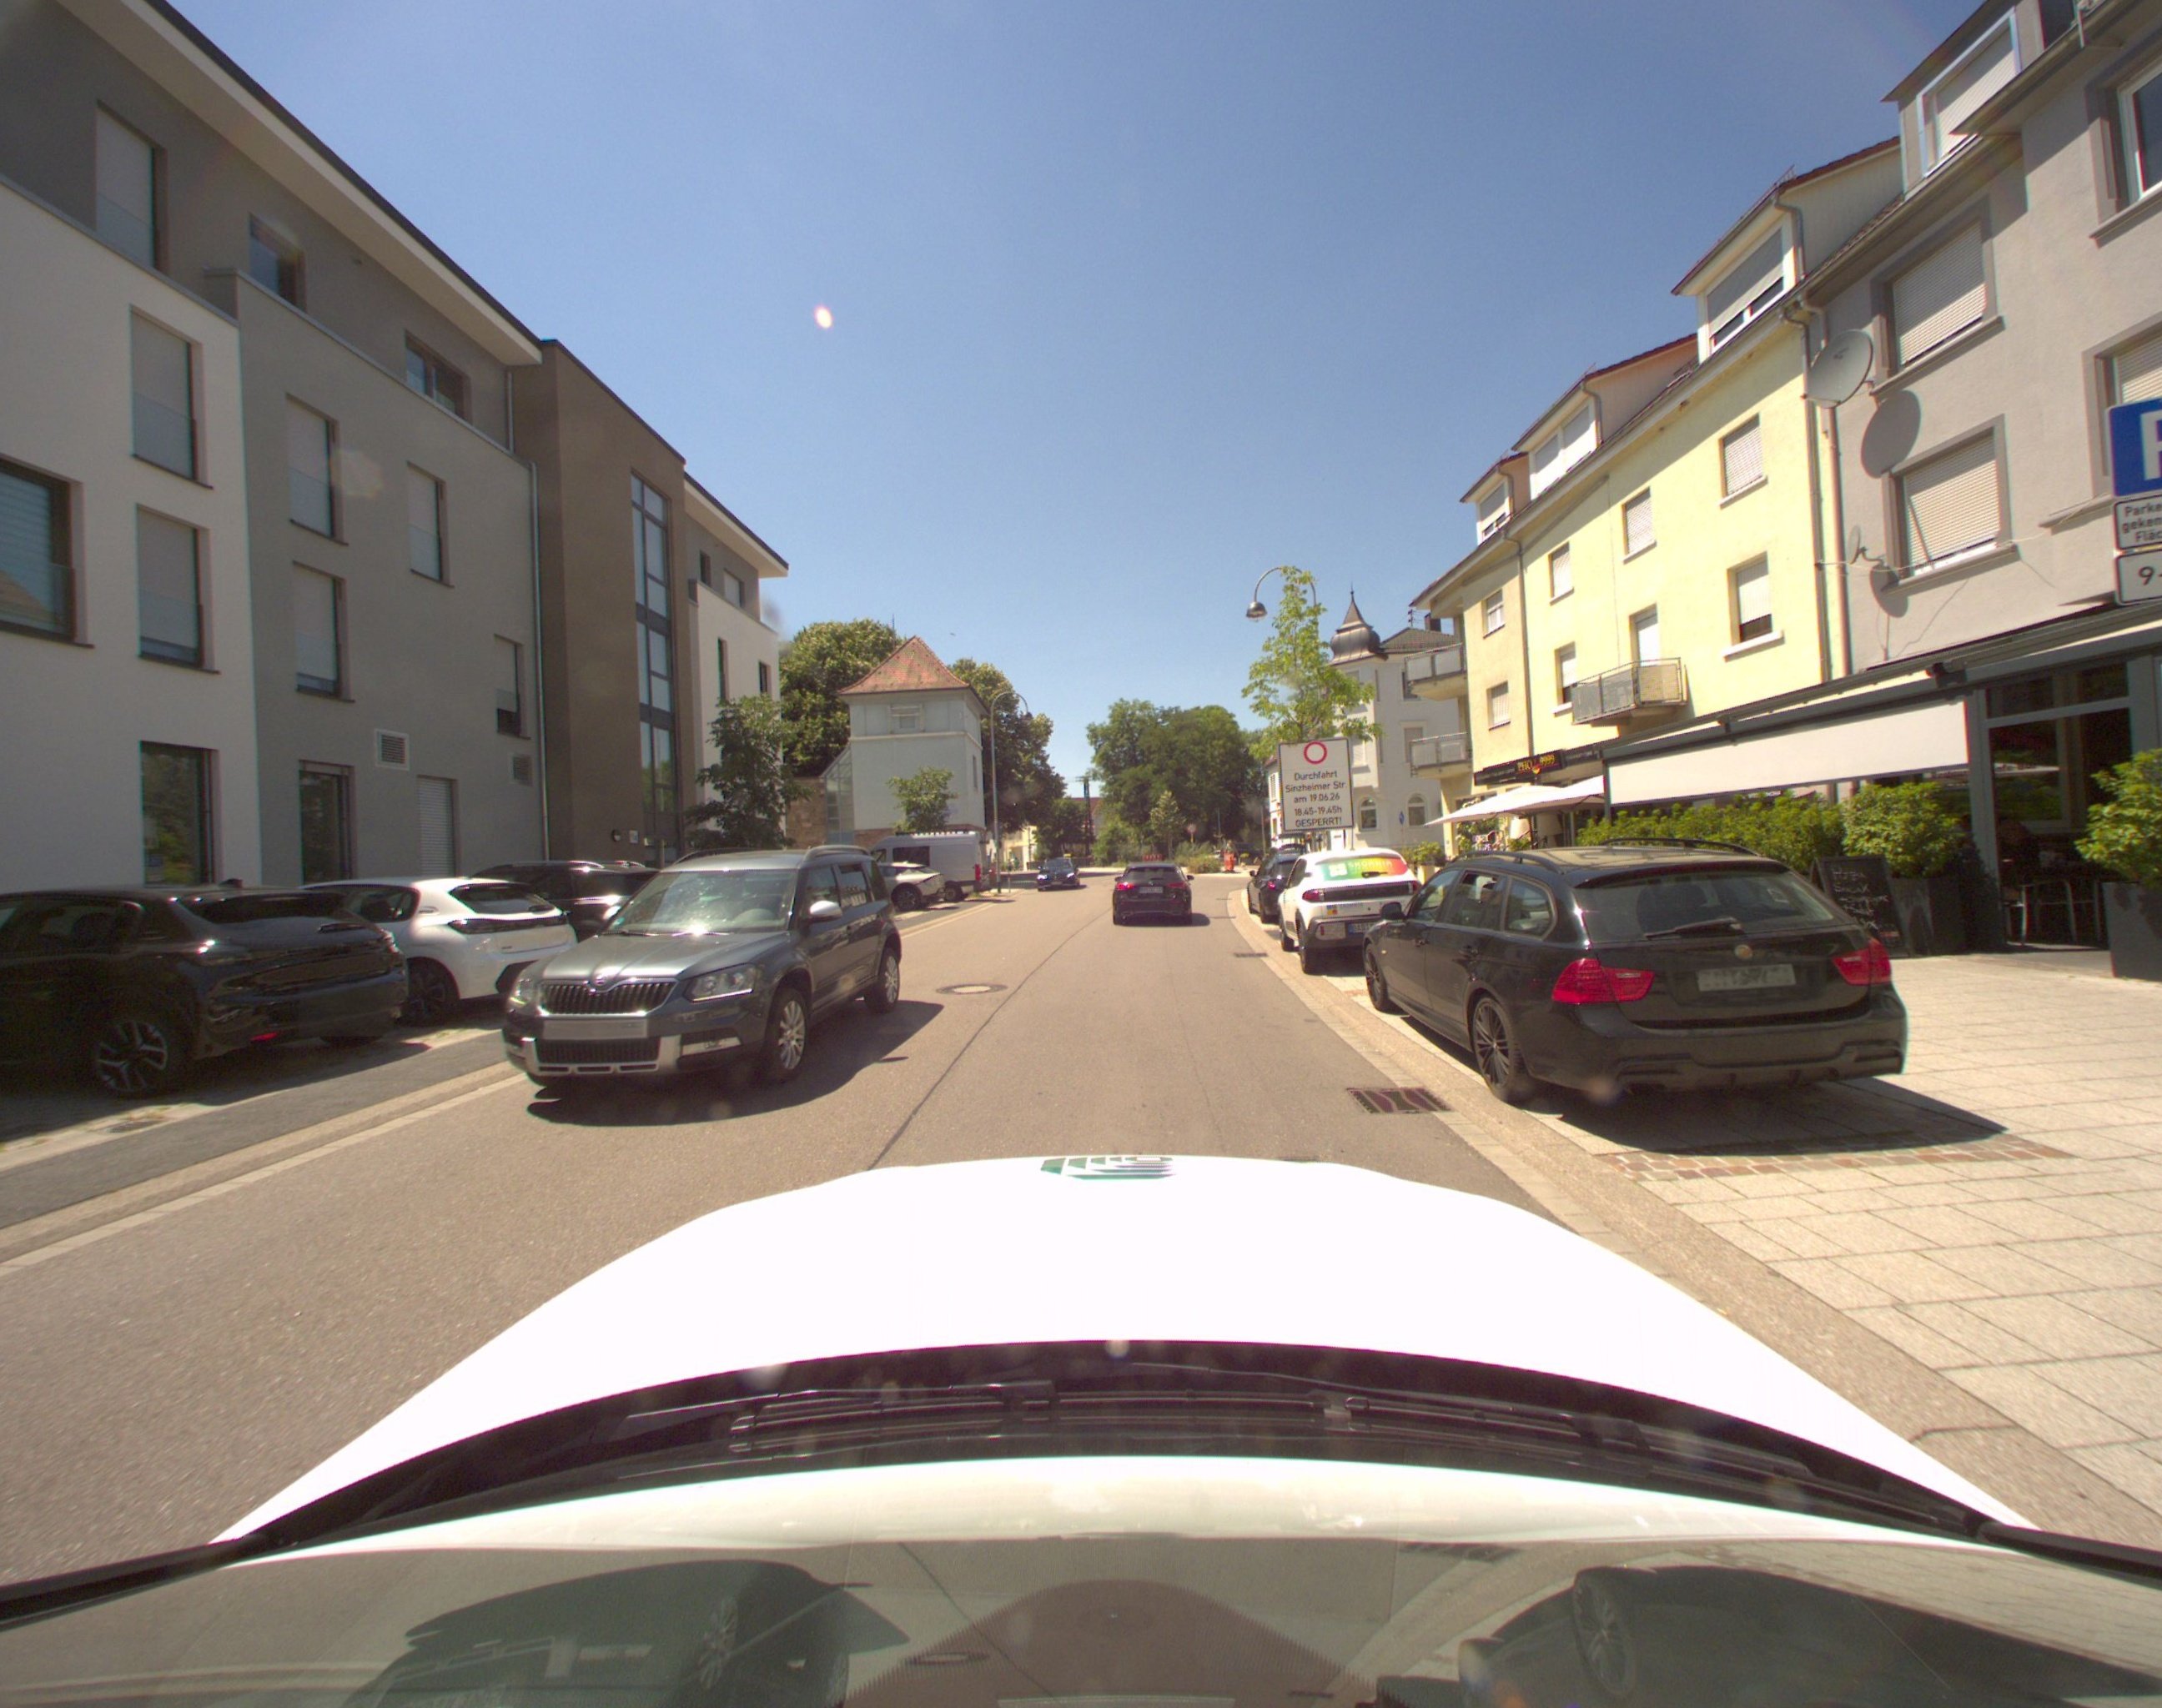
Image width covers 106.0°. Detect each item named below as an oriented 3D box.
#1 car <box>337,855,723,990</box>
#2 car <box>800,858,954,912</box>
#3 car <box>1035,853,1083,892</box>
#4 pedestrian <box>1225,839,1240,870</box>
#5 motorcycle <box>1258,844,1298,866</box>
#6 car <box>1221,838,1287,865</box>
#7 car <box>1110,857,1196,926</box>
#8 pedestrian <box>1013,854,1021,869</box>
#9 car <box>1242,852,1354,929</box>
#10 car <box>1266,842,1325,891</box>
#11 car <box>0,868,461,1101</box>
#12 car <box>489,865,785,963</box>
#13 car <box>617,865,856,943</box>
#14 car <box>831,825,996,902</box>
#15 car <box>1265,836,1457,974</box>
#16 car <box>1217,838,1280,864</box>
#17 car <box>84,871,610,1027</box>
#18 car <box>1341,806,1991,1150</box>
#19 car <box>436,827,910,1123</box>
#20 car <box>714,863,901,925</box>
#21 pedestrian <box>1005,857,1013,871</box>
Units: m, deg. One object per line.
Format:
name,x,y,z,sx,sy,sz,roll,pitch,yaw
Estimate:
car,-7.436,0.887,11.289,4.013,1.651,2.002,-1,-1,4
car,-6.529,0.980,26.427,4.436,1.591,2.001,-1,-1,2
car,-0.978,0.814,38.708,1.886,1.553,4.801,-4,1,2
pedestrian,9.059,0.003,48.718,0.741,1.796,0.846,-3,1,10
motorcycle,12.580,0.053,52.081,2.368,1.275,0.856,-2,0,1
car,11.771,-0.141,55.554,4.061,1.716,1.856,-1,-1,0
car,1.821,0.878,19.702,1.818,1.442,4.008,-2,-2,8
pedestrian,-7.930,0.917,100.640,0.666,1.741,0.693,-2,-1,-41
car,4.729,0.737,18.341,1.715,1.405,4.617,-4,-1,7
car,7.955,0.412,30.052,1.857,1.491,3.879,-4,0,16
car,-7.695,0.917,6.505,3.970,1.515,2.002,-1,-1,3
car,-7.531,0.989,14.106,4.013,1.497,2.002,-1,-1,4
car,-6.969,0.998,16.782,4.013,1.430,2.002,-1,-1,4
car,-6.348,0.370,31.334,5.743,2.732,2.293,-1,-1,3
car,3.733,0.625,11.583,1.728,1.486,4.063,-5,-1,8
car,11.746,-0.199,57.415,4.061,1.716,1.856,-1,-1,0
car,-7.622,0.935,8.770,3.970,1.421,1.911,-1,-1,3
car,3.377,0.632,5.875,1.825,1.482,4.099,-5,-2,4
car,-2.855,0.737,6.862,1.804,1.701,4.077,-2,-1,2
car,-6.996,1.003,21.181,4.188,1.438,1.884,-1,-1,-2
pedestrian,-8.987,1.226,101.194,0.617,1.612,0.830,-2,-1,-28
